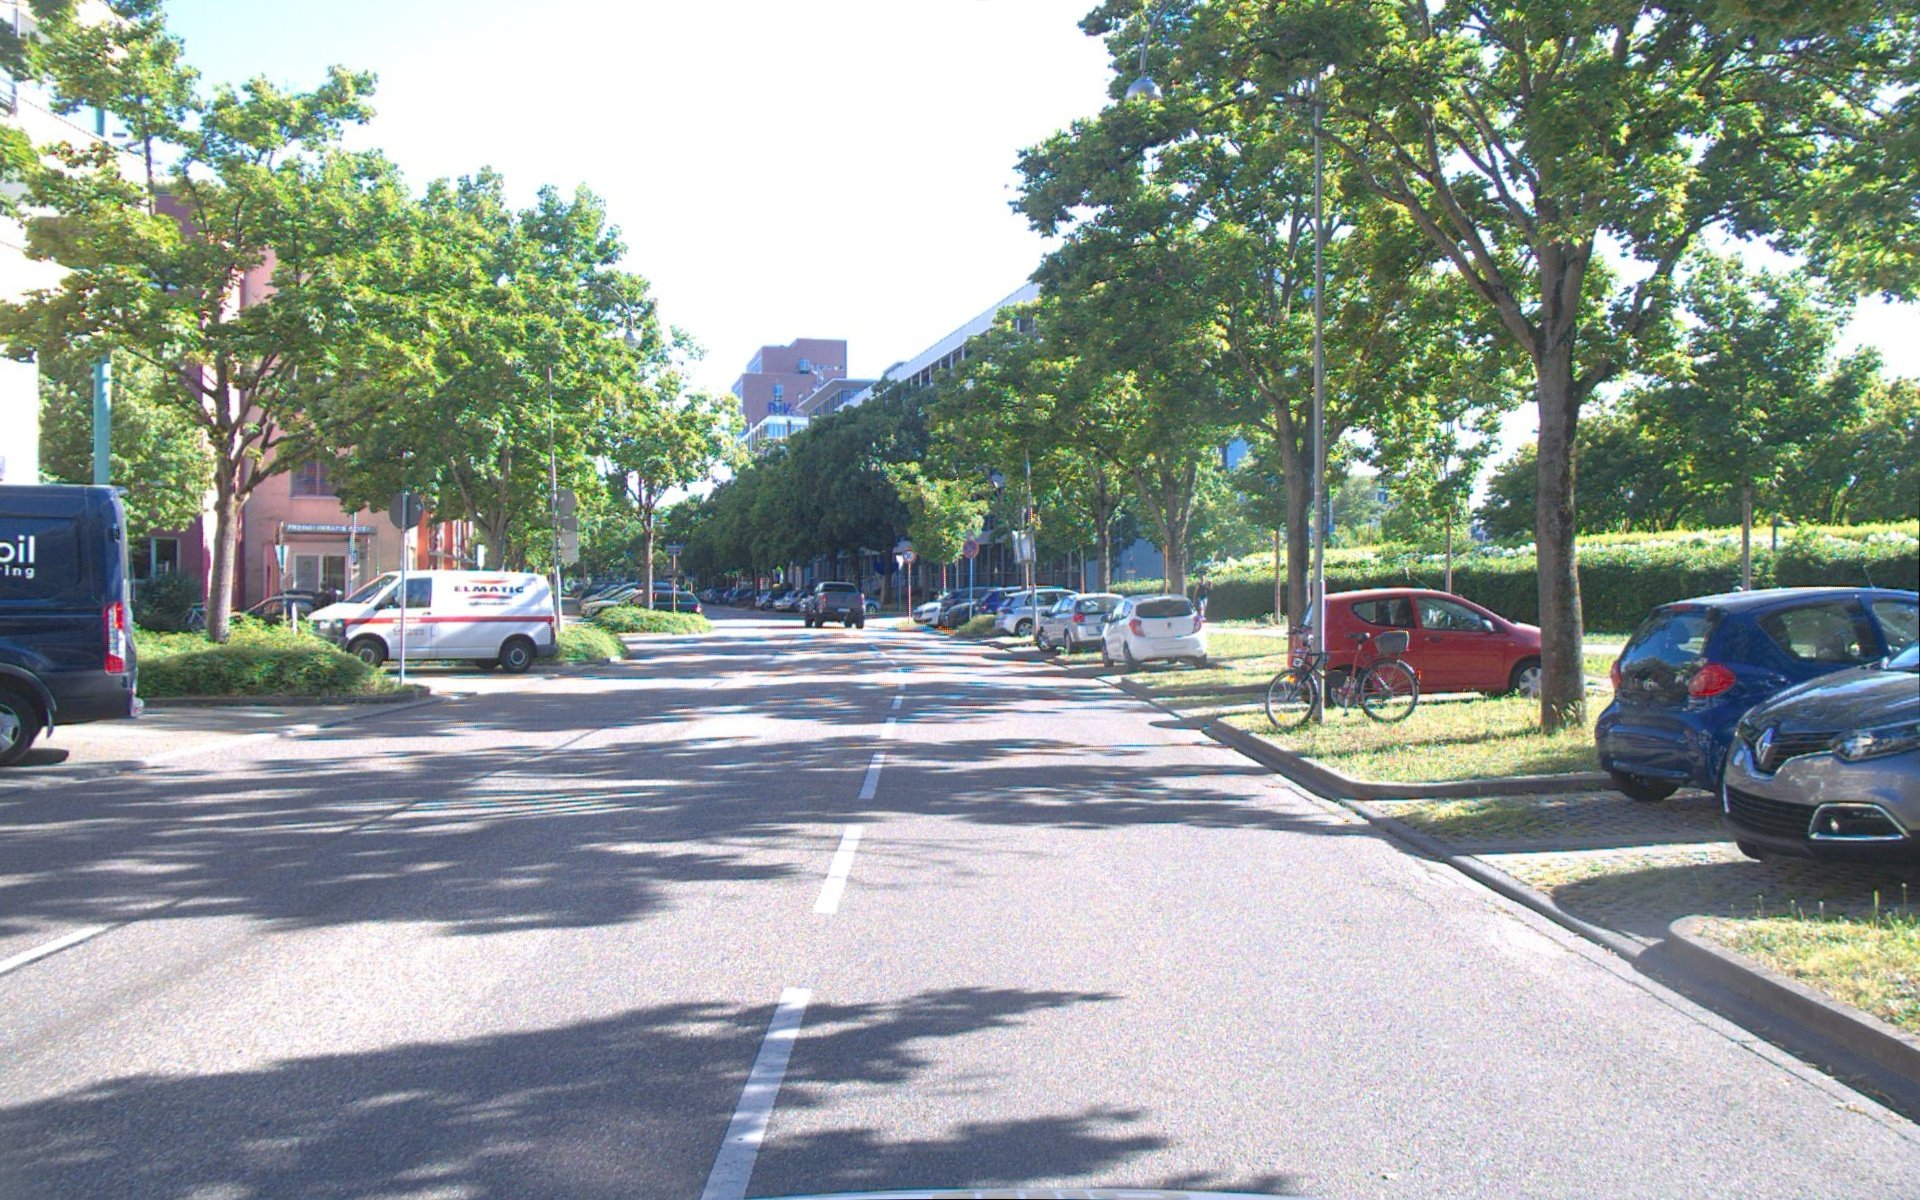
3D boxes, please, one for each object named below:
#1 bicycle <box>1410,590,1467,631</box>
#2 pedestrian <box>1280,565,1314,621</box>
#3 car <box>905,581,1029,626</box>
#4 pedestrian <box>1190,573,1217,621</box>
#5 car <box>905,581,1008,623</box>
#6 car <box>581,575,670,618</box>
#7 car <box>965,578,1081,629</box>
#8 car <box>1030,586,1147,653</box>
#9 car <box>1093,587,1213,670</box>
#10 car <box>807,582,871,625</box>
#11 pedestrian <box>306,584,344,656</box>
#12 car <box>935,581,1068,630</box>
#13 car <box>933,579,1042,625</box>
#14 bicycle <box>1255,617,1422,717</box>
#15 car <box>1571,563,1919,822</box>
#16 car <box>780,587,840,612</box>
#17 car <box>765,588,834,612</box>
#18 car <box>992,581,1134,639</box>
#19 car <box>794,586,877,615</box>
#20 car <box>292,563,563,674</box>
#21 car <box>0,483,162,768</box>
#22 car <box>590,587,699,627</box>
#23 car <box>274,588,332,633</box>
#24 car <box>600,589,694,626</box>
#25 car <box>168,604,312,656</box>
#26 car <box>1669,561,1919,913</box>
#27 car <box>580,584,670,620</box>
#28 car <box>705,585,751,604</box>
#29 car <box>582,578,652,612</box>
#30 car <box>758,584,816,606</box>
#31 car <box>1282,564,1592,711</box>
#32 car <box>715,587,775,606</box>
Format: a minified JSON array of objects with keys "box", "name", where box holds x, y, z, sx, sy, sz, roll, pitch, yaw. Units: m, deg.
[{"box":[10.503,0.231,36.337,0.342,0.881,1.398,-2,0,-25],"name":"bicycle"},{"box":[9.958,-0.205,48.923,0.711,1.615,0.850,-1,0,-12],"name":"pedestrian"},{"box":[0.272,0.146,65.803,4.482,1.541,1.971,-3,0,-20],"name":"car"},{"box":[8.185,-0.100,55.554,0.596,1.569,0.934,-1,0,-12],"name":"pedestrian"},{"box":[-0.164,0.083,68.369,3.889,1.541,1.692,-3,0,-20],"name":"car"},{"box":[-15.147,-0.163,74.838,3.825,1.843,1.780,2,0,-14],"name":"car"},{"box":[2.200,0.122,58.276,3.739,1.473,1.740,-4,1,-12],"name":"car"},{"box":[3.186,0.449,41.977,1.776,1.519,4.612,-3,1,-10],"name":"car"},{"box":[3.893,0.538,33.896,1.611,1.519,3.761,-3,1,-6],"name":"car"},{"box":[-4.958,0.132,67.538,1.959,1.668,3.986,2,0,-14],"name":"car"},{"box":[-15.761,0.494,41.070,0.644,1.756,1.020,-1,0,-9],"name":"pedestrian"},{"box":[1.509,0.185,60.856,4.472,1.541,2.151,-3,0,-13],"name":"car"},{"box":[1.047,0.083,63.362,3.809,1.541,1.745,-3,0,-13],"name":"car"},{"box":[4.100,0.724,17.989,1.713,1.008,0.530,-2,0,10],"name":"bicycle"},{"box":[6.286,0.535,11.388,3.394,1.505,1.857,-3,0,-5],"name":"car"},{"box":[-9.927,-0.014,109.525,3.688,1.519,1.607,-2,1,-20],"name":"car"},{"box":[-10.861,-0.001,111.906,4.223,1.519,1.992,-2,1,-21],"name":"car"},{"box":[3.092,0.289,50.198,4.012,1.454,1.640,-4,1,-7],"name":"car"},{"box":[-7.174,0.024,94.992,4.499,1.501,1.741,-2,1,-13],"name":"car"},{"box":[-10.438,0.336,32.611,4.722,2.020,1.973,0,1,-38],"name":"car"},{"box":[-10.123,0.185,14.655,5.425,2.479,2.166,1,1,-28],"name":"car"},{"box":[-12.523,0.279,65.781,4.185,1.448,1.735,2,0,-10],"name":"car"},{"box":[-23.419,0.353,58.871,1.711,1.468,4.100,-1,1,-24],"name":"car"},{"box":[-13.286,0.312,70.169,3.825,1.448,1.733,2,0,-14],"name":"car"},{"box":[-22.828,0.931,52.593,3.915,1.472,1.798,-1,3,-14],"name":"car"},{"box":[6.166,0.538,8.593,4.108,1.573,1.859,-3,0,0],"name":"car"},{"box":[-14.716,0.082,72.618,3.825,1.448,1.733,2,0,-14],"name":"car"},{"box":[-22.856,-0.570,162.804,4.282,1.733,1.804,-2,1,-17],"name":"car"},{"box":[-22.572,-0.326,108.909,4.408,2.126,2.077,2,0,-12],"name":"car"},{"box":[-12.455,-0.352,118.835,3.905,1.444,1.703,-2,1,-16],"name":"car"},{"box":[5.926,0.451,20.824,3.364,1.571,1.627,-3,0,0],"name":"car"},{"box":[-18.289,-0.295,140.659,4.746,1.444,2.023,-2,1,-16],"name":"car"}]
